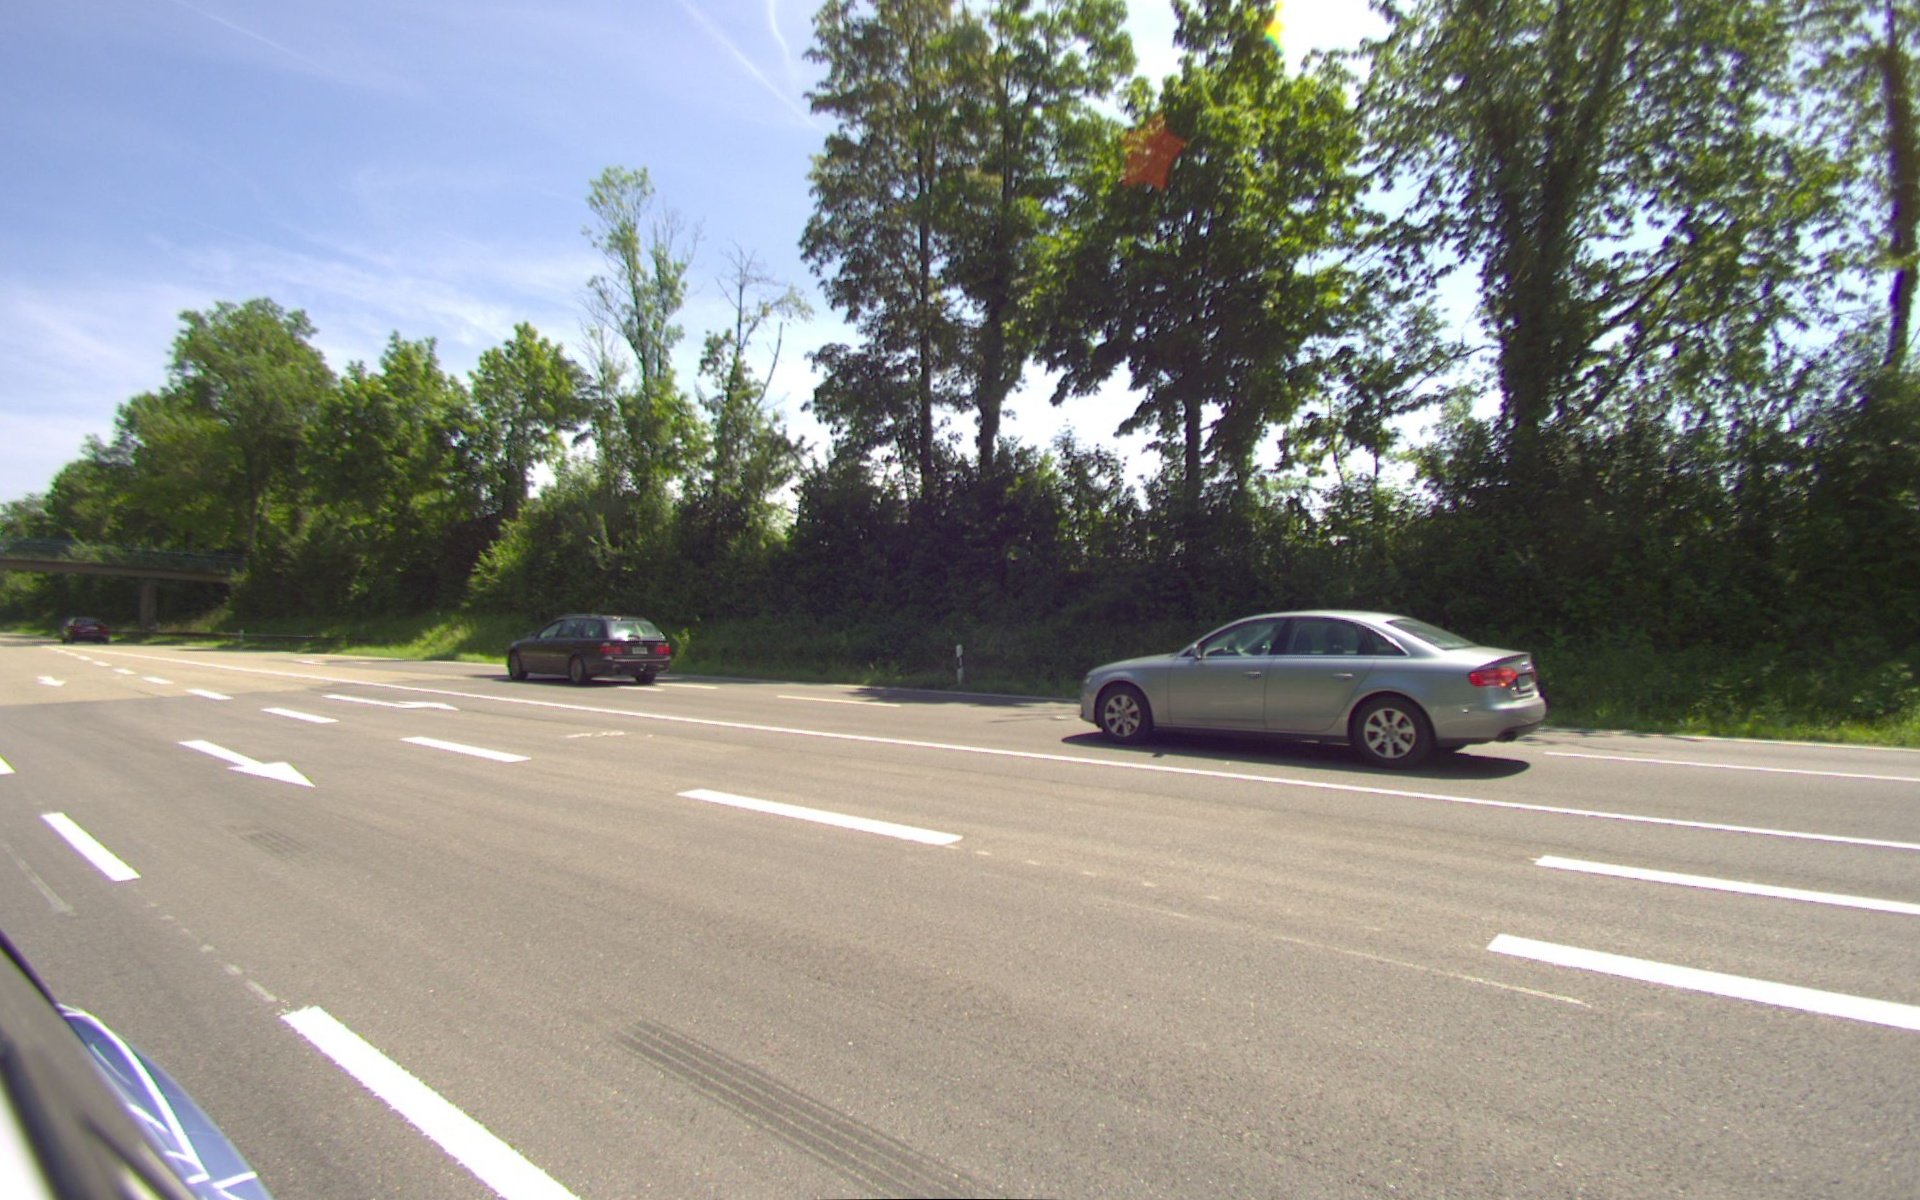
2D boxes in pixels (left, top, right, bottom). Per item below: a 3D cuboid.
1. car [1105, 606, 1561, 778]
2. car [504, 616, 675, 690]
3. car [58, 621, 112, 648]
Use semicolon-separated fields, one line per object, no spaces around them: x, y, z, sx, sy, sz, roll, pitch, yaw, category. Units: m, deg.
3.638;0.770;10.263;3.997;1.397;1.749;0;0;41;car
-8.039;1.067;21.806;3.997;1.397;1.749;0;0;41;car
-50.966;1.976;58.948;3.763;1.520;1.883;-1;-2;41;car
